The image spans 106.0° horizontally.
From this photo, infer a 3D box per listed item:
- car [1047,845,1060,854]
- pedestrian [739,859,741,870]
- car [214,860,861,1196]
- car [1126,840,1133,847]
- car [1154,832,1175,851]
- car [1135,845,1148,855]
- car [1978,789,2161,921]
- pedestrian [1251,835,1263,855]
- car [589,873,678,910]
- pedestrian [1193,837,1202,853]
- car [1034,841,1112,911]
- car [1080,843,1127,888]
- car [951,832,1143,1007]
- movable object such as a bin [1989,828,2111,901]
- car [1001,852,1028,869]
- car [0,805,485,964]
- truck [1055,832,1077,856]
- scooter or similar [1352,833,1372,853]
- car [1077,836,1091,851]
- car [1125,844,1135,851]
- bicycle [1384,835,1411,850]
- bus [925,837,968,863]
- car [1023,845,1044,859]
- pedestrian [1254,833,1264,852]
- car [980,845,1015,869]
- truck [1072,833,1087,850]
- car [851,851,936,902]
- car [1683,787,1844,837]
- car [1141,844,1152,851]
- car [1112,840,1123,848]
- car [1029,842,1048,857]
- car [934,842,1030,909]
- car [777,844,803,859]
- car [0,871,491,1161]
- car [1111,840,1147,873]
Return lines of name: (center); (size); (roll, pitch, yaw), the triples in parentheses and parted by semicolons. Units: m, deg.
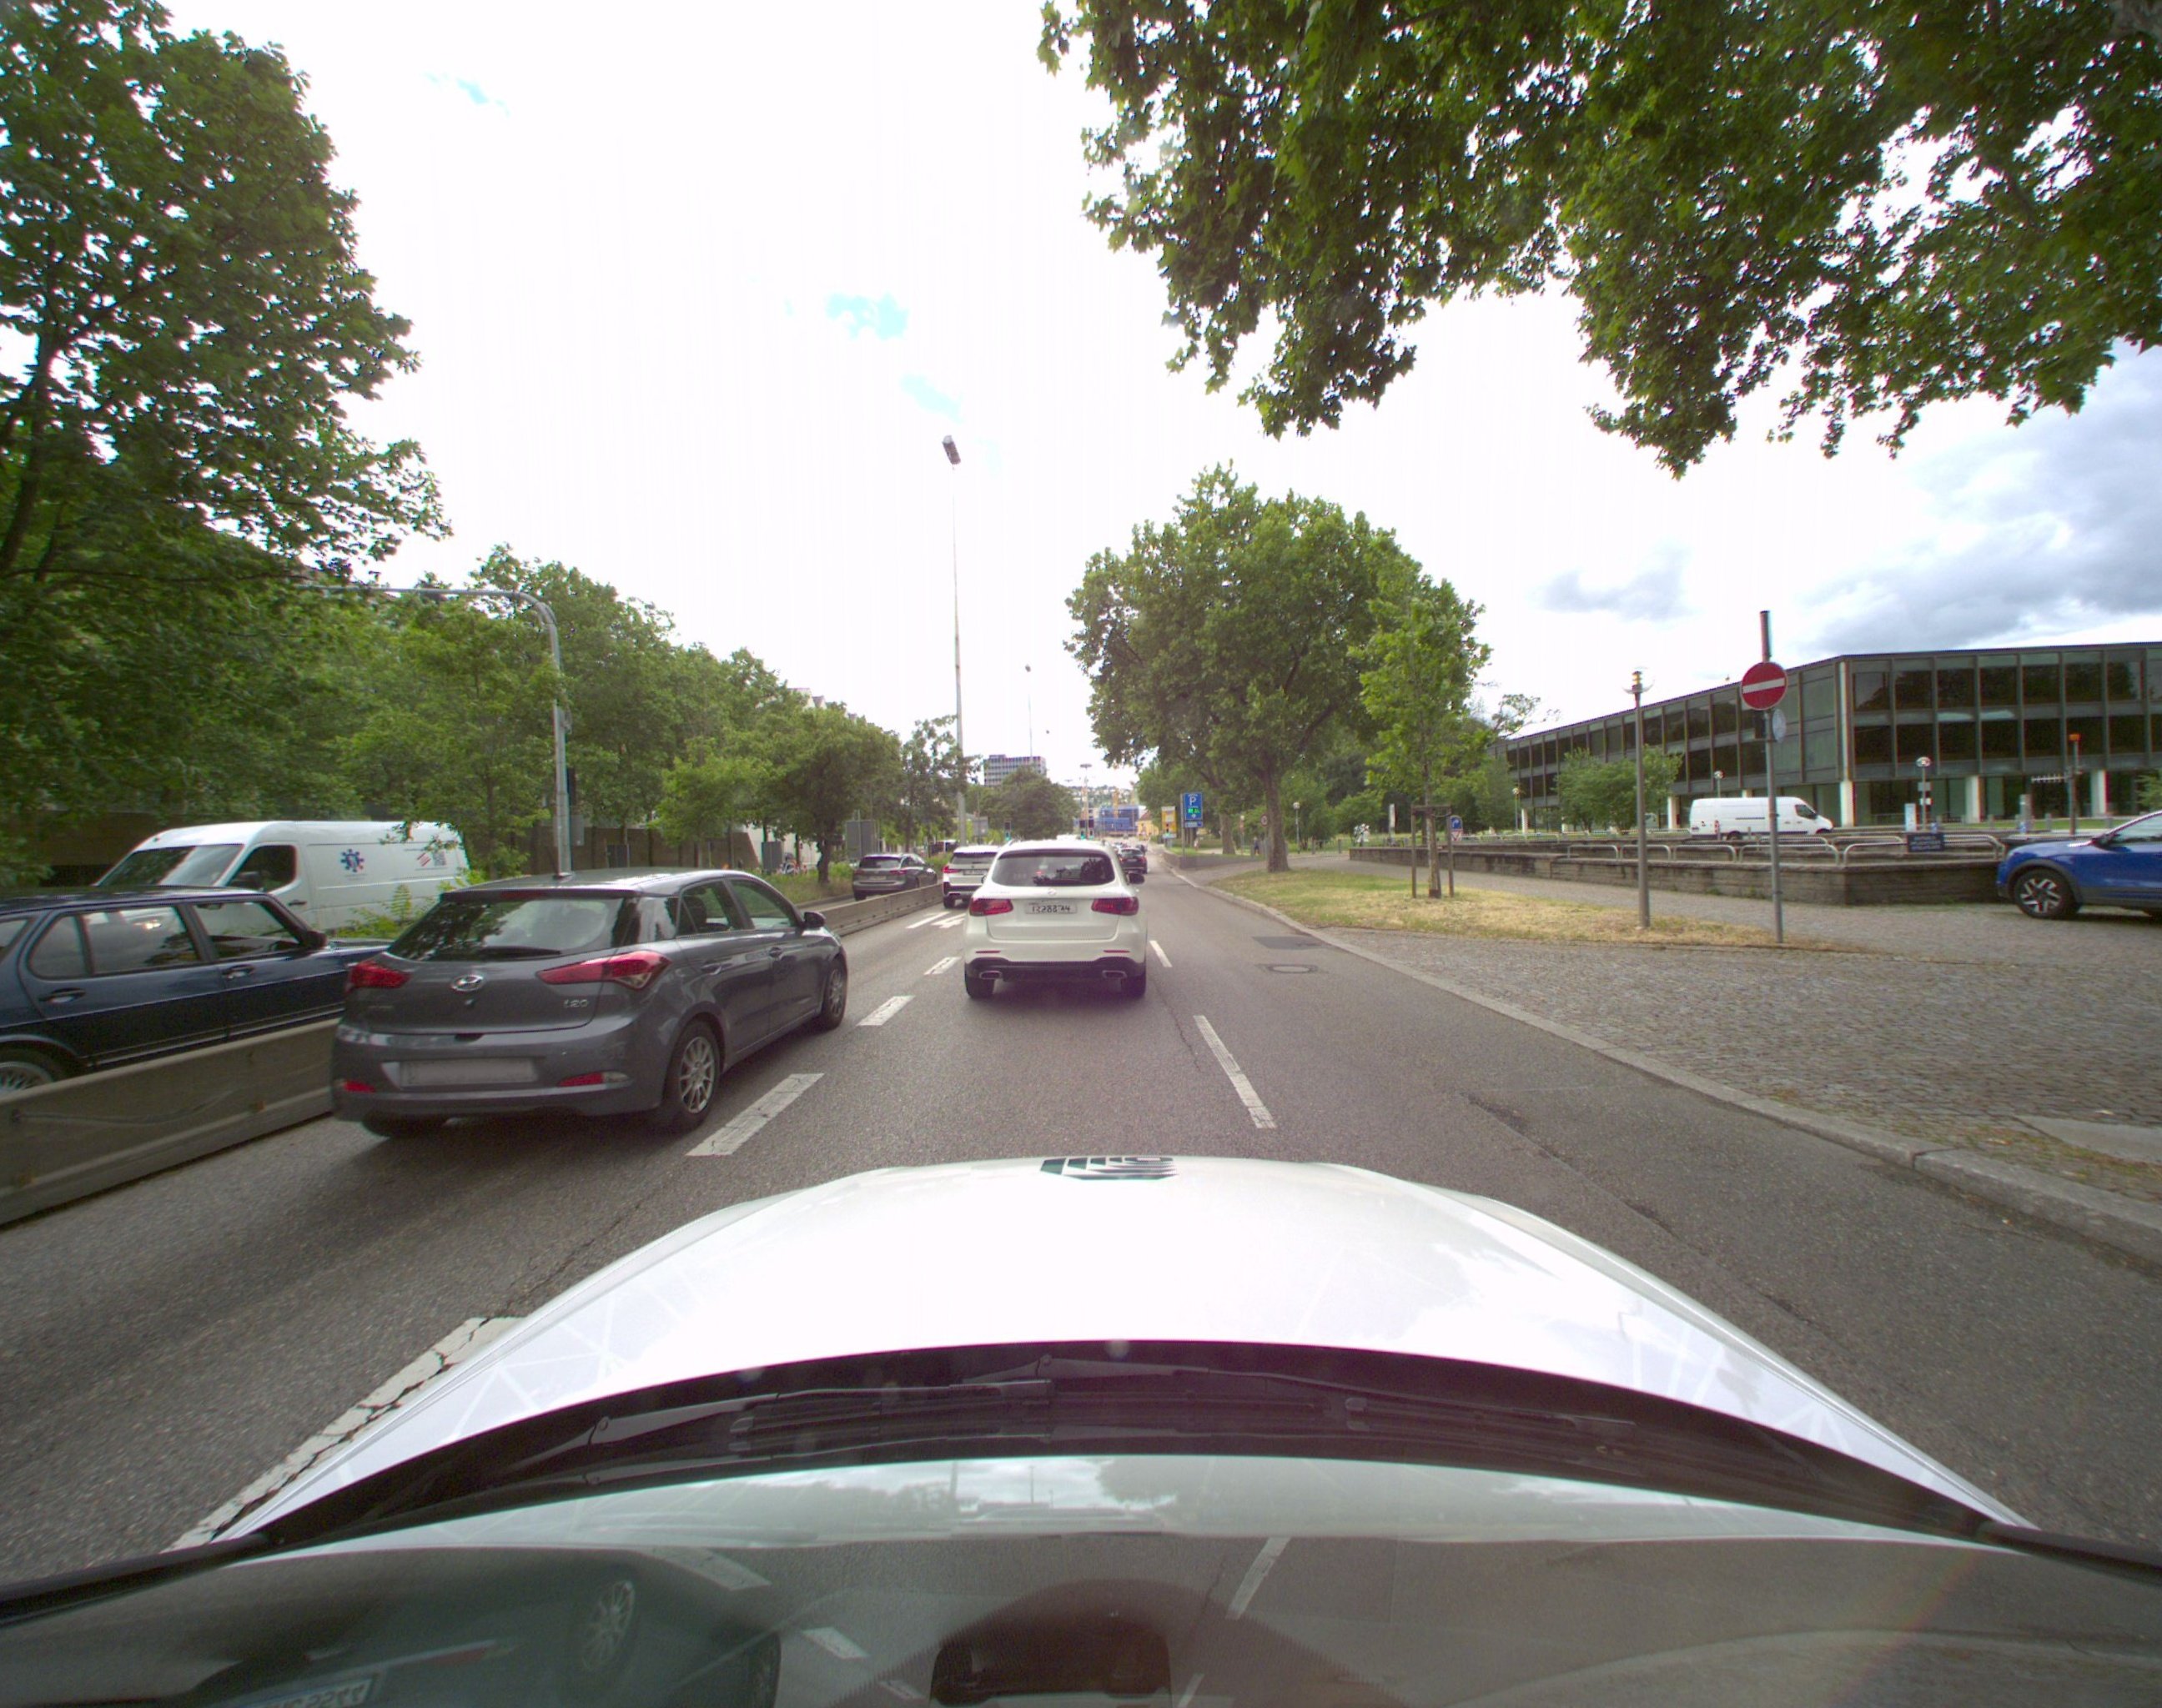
car: (-4.263, -0.670, 127.000); (1.652, 1.319, 3.550); (-1, 0, 2)
pedestrian: (-32.558, 0.977, 77.757); (0.214, 1.078, 0.257); (0, 0, -17)
car: (-3.002, 0.798, 5.703); (1.792, 1.437, 4.020); (-1, 0, 0)
car: (12.689, -2.822, 213.986); (1.752, 1.669, 4.170); (-2, 1, 2)
car: (9.242, -1.383, 90.346); (1.985, 2.013, 4.003); (-1, 0, 2)
car: (9.464, -0.633, 127.039); (1.939, 1.428, 4.019); (-1, 0, 2)
car: (13.745, -0.013, 9.748); (1.753, 1.551, 4.032); (-2, 3, 4)
pedestrian: (14.883, -0.768, 68.833); (0.665, 1.610, 0.634); (-2, 0, -31)
car: (-20.960, 1.731, 38.351); (1.842, 1.458, 4.001); (-2, 1, 1)
pedestrian: (14.184, -1.113, 99.449); (0.752, 2.013, 0.703); (-2, 0, 37)
car: (-0.281, 0.506, 21.004); (1.792, 1.608, 3.750); (-1, 0, -3)
car: (0.829, 0.407, 31.734); (1.654, 1.639, 3.545); (-1, 0, -1)
car: (-0.240, 0.585, 9.809); (1.781, 1.625, 4.440); (0, 1, 2)
movable object such as a bin: (15.205, 0.150, 12.807); (1.004, 1.064, 0.770); (-2, 3, -1)
car: (-5.514, 0.555, 67.425); (1.651, 1.319, 3.552); (-1, 0, 4)
car: (-12.855, 0.359, 13.192); (2.108, 1.969, 5.580); (-2, 1, 1)
truck: (-1.838, -1.200, 101.987); (2.612, 2.861, 7.079); (-1, 1, 1)
scooter or similar: (17.797, -0.688, 51.566); (0.633, 1.245, 2.228); (0, 0, 4)
car: (0.445, -1.755, 137.360); (1.984, 2.475, 4.005); (-2, 1, 4)
car: (10.770, -1.421, 179.211); (1.939, 1.319, 4.019); (-1, 0, 2)
bicycle: (22.459, -0.805, 57.842); (0.950, 0.975, 2.788); (0, 0, 1)
bus: (-18.675, -0.605, 113.898); (3.656, 3.205, 14.269); (-2, 1, -1)
car: (-4.702, -0.161, 80.864); (1.651, 1.319, 3.552); (-1, 0, 4)
pedestrian: (16.001, -1.015, 73.326); (0.754, 1.724, 0.701); (-2, 0, 9)
car: (-5.486, 0.175, 53.769); (1.769, 1.420, 4.001); (-2, 1, 1)
truck: (-0.239, -2.215, 145.089); (2.683, 2.991, 5.638); (0, 0, 0)
car: (-5.744, 0.634, 25.390); (1.655, 1.436, 3.961); (-1, 0, 1)
car: (34.758, -2.089, 41.633); (6.082, 2.260, 2.403); (-2, 0, 3)
car: (12.457, -1.234, 154.234); (1.939, 1.319, 4.019); (-1, 0, 2)
car: (6.439, -1.763, 143.189); (1.939, 1.319, 4.019); (-1, 0, 2)
car: (-4.702, -0.510, 90.581); (1.653, 1.513, 3.549); (-2, 0, 2)
car: (-2.606, 0.528, 22.572); (1.844, 1.628, 4.909); (-1, 0, 2)
car: (-39.558, -0.399, 110.901); (1.986, 1.914, 4.001); (-2, 0, 1)
car: (-6.330, 0.892, 5.215); (1.672, 1.367, 4.544); (-2, 1, 1)
car: (2.639, 0.107, 45.767); (1.819, 1.752, 4.001); (-2, 1, 1)
